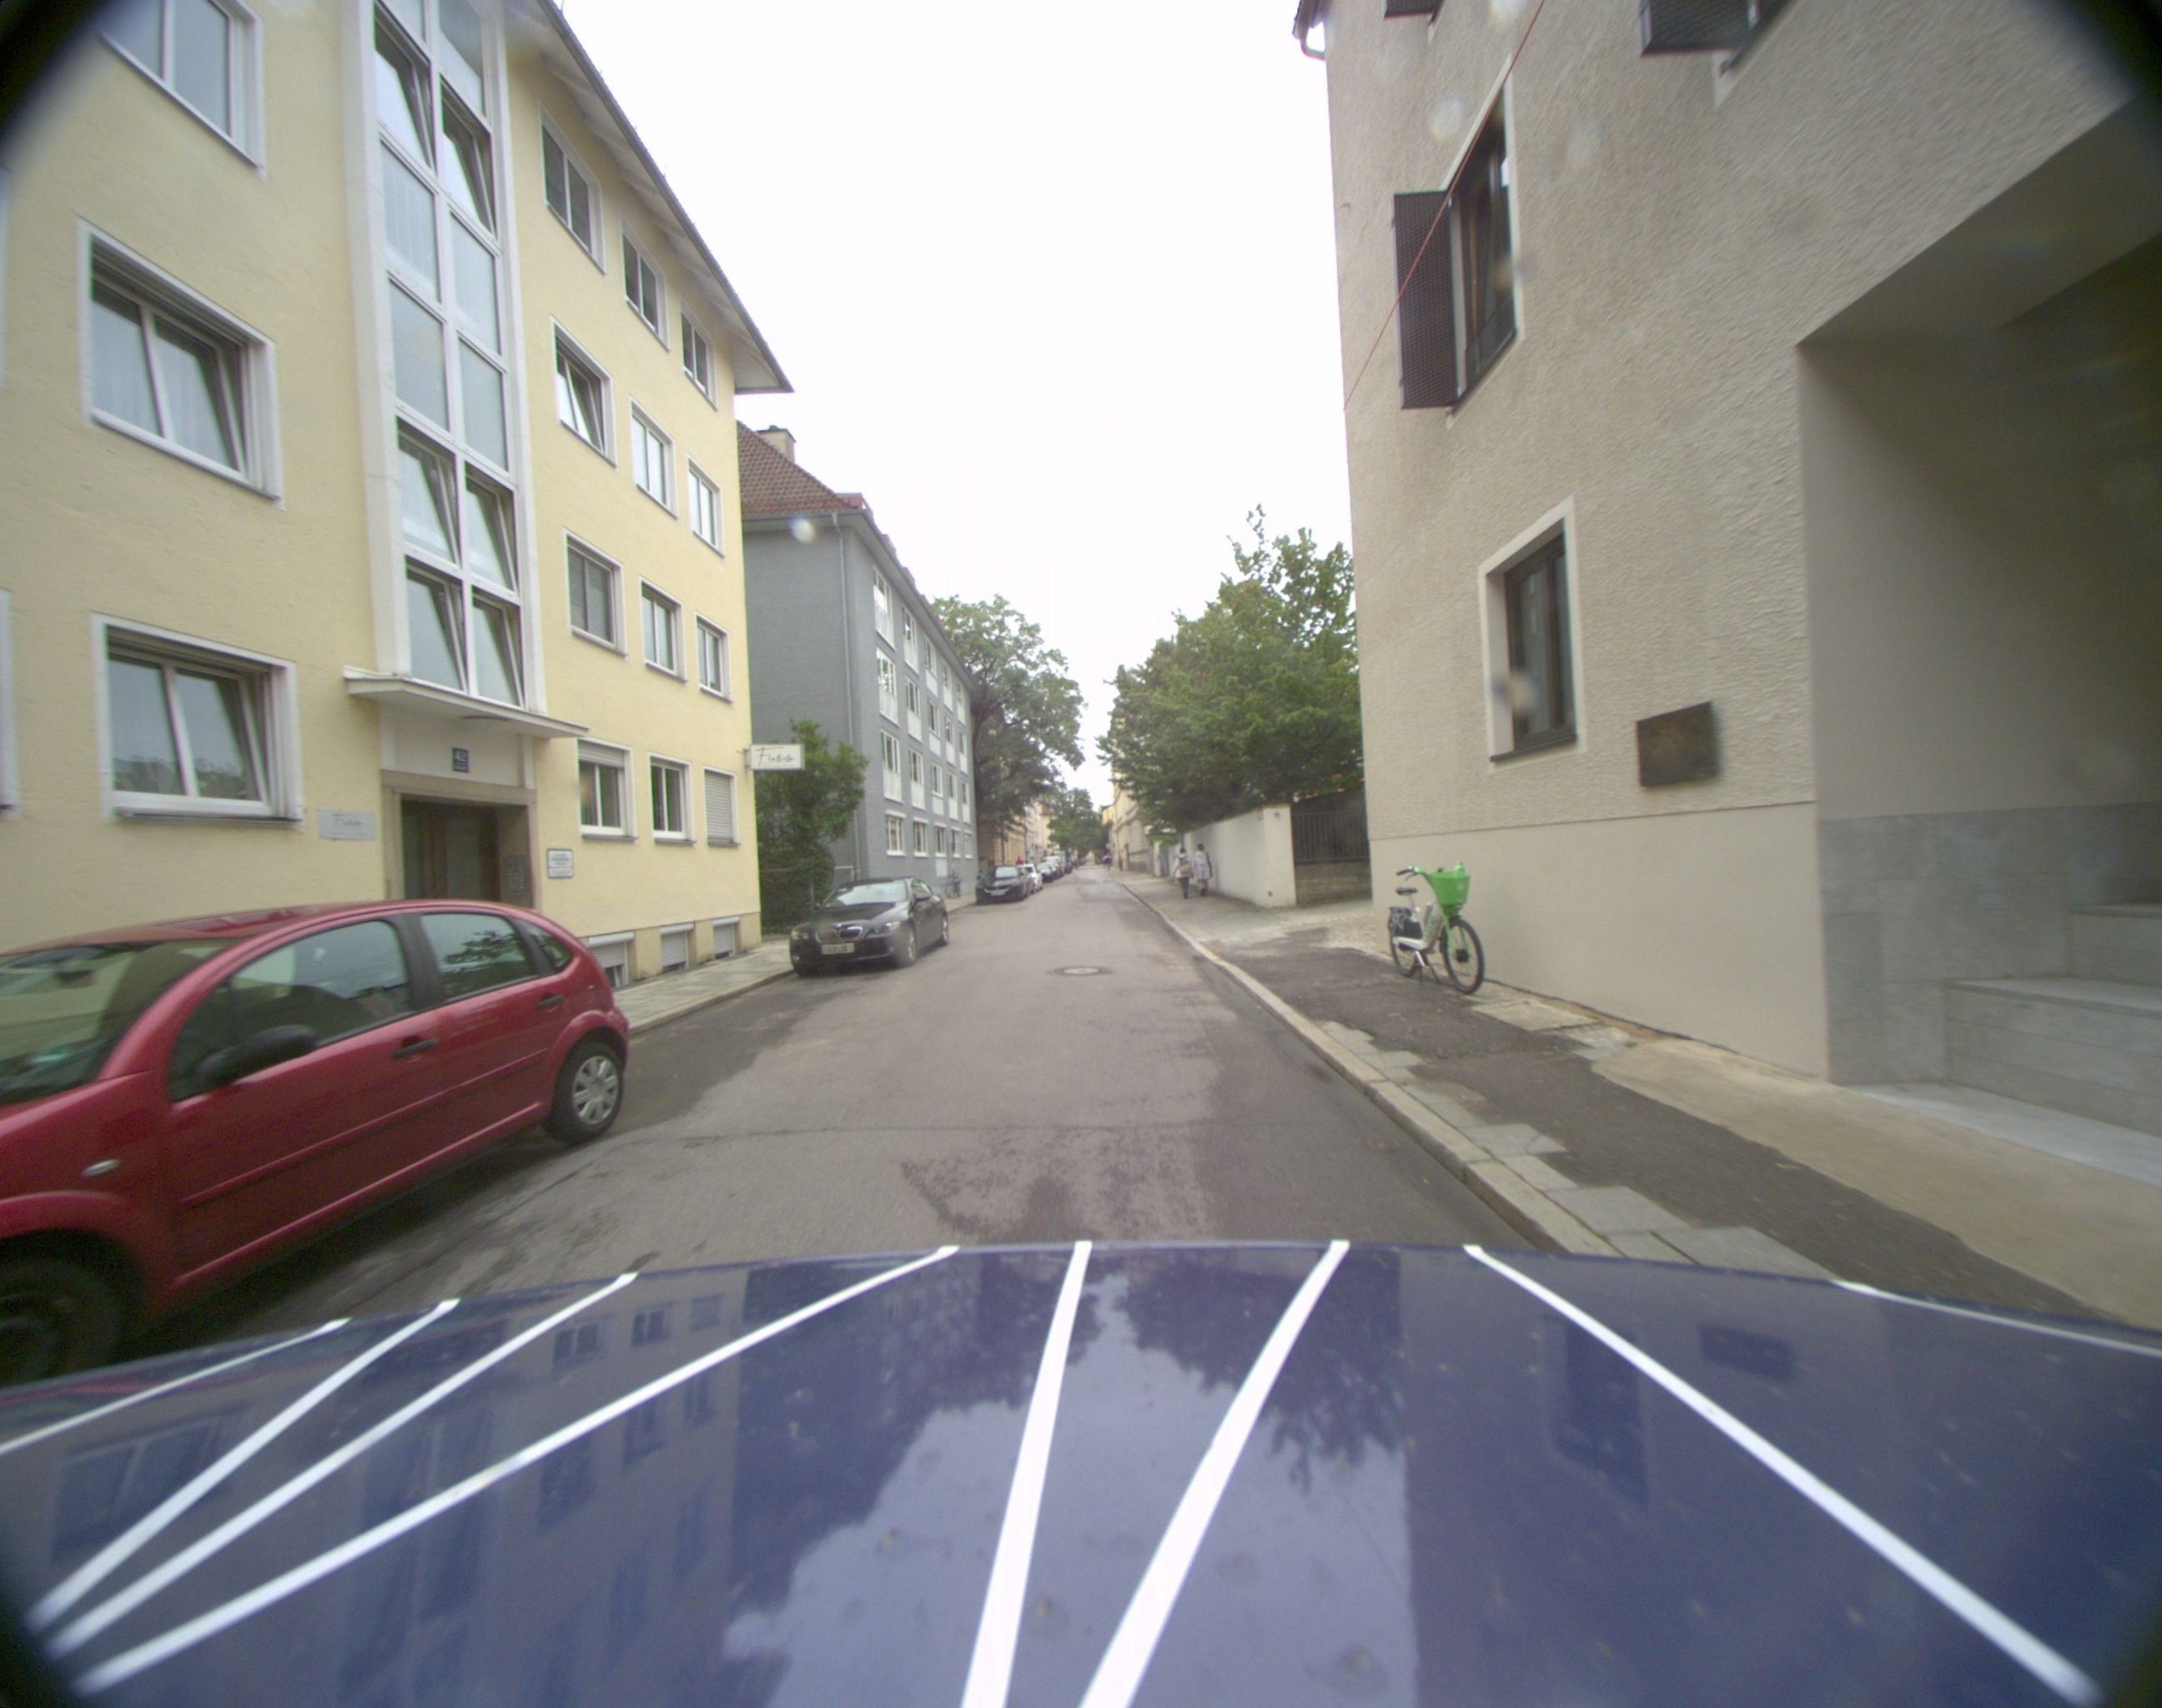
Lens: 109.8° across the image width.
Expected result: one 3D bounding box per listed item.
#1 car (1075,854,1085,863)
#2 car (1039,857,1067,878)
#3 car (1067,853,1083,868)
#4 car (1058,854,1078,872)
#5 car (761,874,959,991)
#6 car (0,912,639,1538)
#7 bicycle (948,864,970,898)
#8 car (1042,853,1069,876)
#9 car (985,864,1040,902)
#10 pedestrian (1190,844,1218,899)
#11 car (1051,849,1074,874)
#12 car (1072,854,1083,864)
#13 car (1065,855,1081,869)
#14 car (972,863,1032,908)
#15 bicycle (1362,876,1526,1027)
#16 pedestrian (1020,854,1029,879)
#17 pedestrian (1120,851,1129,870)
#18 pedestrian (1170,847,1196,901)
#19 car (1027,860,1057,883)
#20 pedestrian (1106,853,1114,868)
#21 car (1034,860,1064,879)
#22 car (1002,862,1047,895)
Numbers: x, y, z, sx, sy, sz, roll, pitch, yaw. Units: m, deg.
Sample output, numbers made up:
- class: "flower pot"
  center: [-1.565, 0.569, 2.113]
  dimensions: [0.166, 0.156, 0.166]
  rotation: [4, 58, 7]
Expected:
- class: "car"
  center: [-0.241, 1.126, 181.847]
  dimensions: [2.014, 1.969, 5.090]
  rotation: [-6, 0, 2]
- class: "car"
  center: [-2.379, 1.105, 65.205]
  dimensions: [1.998, 1.677, 4.511]
  rotation: [-2, 0, 2]
- class: "car"
  center: [-0.929, 1.064, 127.358]
  dimensions: [2.242, 2.246, 5.090]
  rotation: [-6, 0, 2]
- class: "car"
  center: [-1.639, 1.150, 97.747]
  dimensions: [2.014, 1.989, 5.090]
  rotation: [-6, 0, 2]
- class: "car"
  center: [-3.418, 1.140, 12.757]
  dimensions: [1.830, 1.327, 4.509]
  rotation: [-6, 0, 1]
- class: "car"
  center: [-3.784, 1.157, 3.024]
  dimensions: [1.680, 1.483, 3.853]
  rotation: [-3, 0, 1]
- class: "bicycle"
  center: [-5.624, 1.244, 35.196]
  dimensions: [0.515, 1.477, 2.280]
  rotation: [-3, 0, 2]
- class: "car"
  center: [-2.344, 0.978, 71.226]
  dimensions: [1.998, 2.002, 5.064]
  rotation: [-2, 0, 3]
- class: "car"
  center: [-3.072, 1.262, 34.975]
  dimensions: [1.794, 1.393, 4.486]
  rotation: [-6, 0, 2]
- class: "pedestrian"
  center: [3.794, 0.529, 23.452]
  dimensions: [0.615, 1.611, 0.687]
  rotation: [-5, 1, 1]
- class: "car"
  center: [-1.986, 0.840, 84.329]
  dimensions: [2.014, 2.479, 5.090]
  rotation: [-6, 0, 2]
- class: "car"
  center: [-0.768, 1.055, 161.570]
  dimensions: [2.014, 1.969, 5.090]
  rotation: [-6, 0, 2]
- class: "car"
  center: [-1.274, 1.242, 120.894]
  dimensions: [2.014, 1.914, 5.090]
  rotation: [-6, 0, 2]
- class: "car"
  center: [-3.041, 1.197, 30.144]
  dimensions: [1.846, 1.420, 4.263]
  rotation: [-6, 0, -1]
- class: "bicycle"
  center: [3.282, 0.816, 7.085]
  dimensions: [0.539, 1.132, 1.917]
  rotation: [-4, 0, 0]
- class: "pedestrian"
  center: [-4.450, 0.961, 60.128]
  dimensions: [0.581, 1.966, 0.455]
  rotation: [-3, 0, 1]
- class: "pedestrian"
  center: [4.213, 0.629, 74.261]
  dimensions: [0.766, 1.742, 0.970]
  rotation: [-2, 0, 0]
- class: "pedestrian"
  center: [3.125, 0.600, 23.288]
  dimensions: [0.624, 1.570, 0.714]
  rotation: [-4, 1, 1]
- class: "car"
  center: [-2.766, 1.232, 54.675]
  dimensions: [1.860, 1.366, 4.509]
  rotation: [-5, 0, 0]
- class: "pedestrian"
  center: [3.480, 0.792, 91.528]
  dimensions: [0.920, 1.742, 1.066]
  rotation: [-2, 0, 0]
- class: "car"
  center: [-2.508, 1.215, 59.891]
  dimensions: [1.998, 1.306, 4.593]
  rotation: [-2, 0, 2]
- class: "car"
  center: [-2.901, 1.233, 40.035]
  dimensions: [1.773, 1.437, 4.345]
  rotation: [-6, 0, 2]
